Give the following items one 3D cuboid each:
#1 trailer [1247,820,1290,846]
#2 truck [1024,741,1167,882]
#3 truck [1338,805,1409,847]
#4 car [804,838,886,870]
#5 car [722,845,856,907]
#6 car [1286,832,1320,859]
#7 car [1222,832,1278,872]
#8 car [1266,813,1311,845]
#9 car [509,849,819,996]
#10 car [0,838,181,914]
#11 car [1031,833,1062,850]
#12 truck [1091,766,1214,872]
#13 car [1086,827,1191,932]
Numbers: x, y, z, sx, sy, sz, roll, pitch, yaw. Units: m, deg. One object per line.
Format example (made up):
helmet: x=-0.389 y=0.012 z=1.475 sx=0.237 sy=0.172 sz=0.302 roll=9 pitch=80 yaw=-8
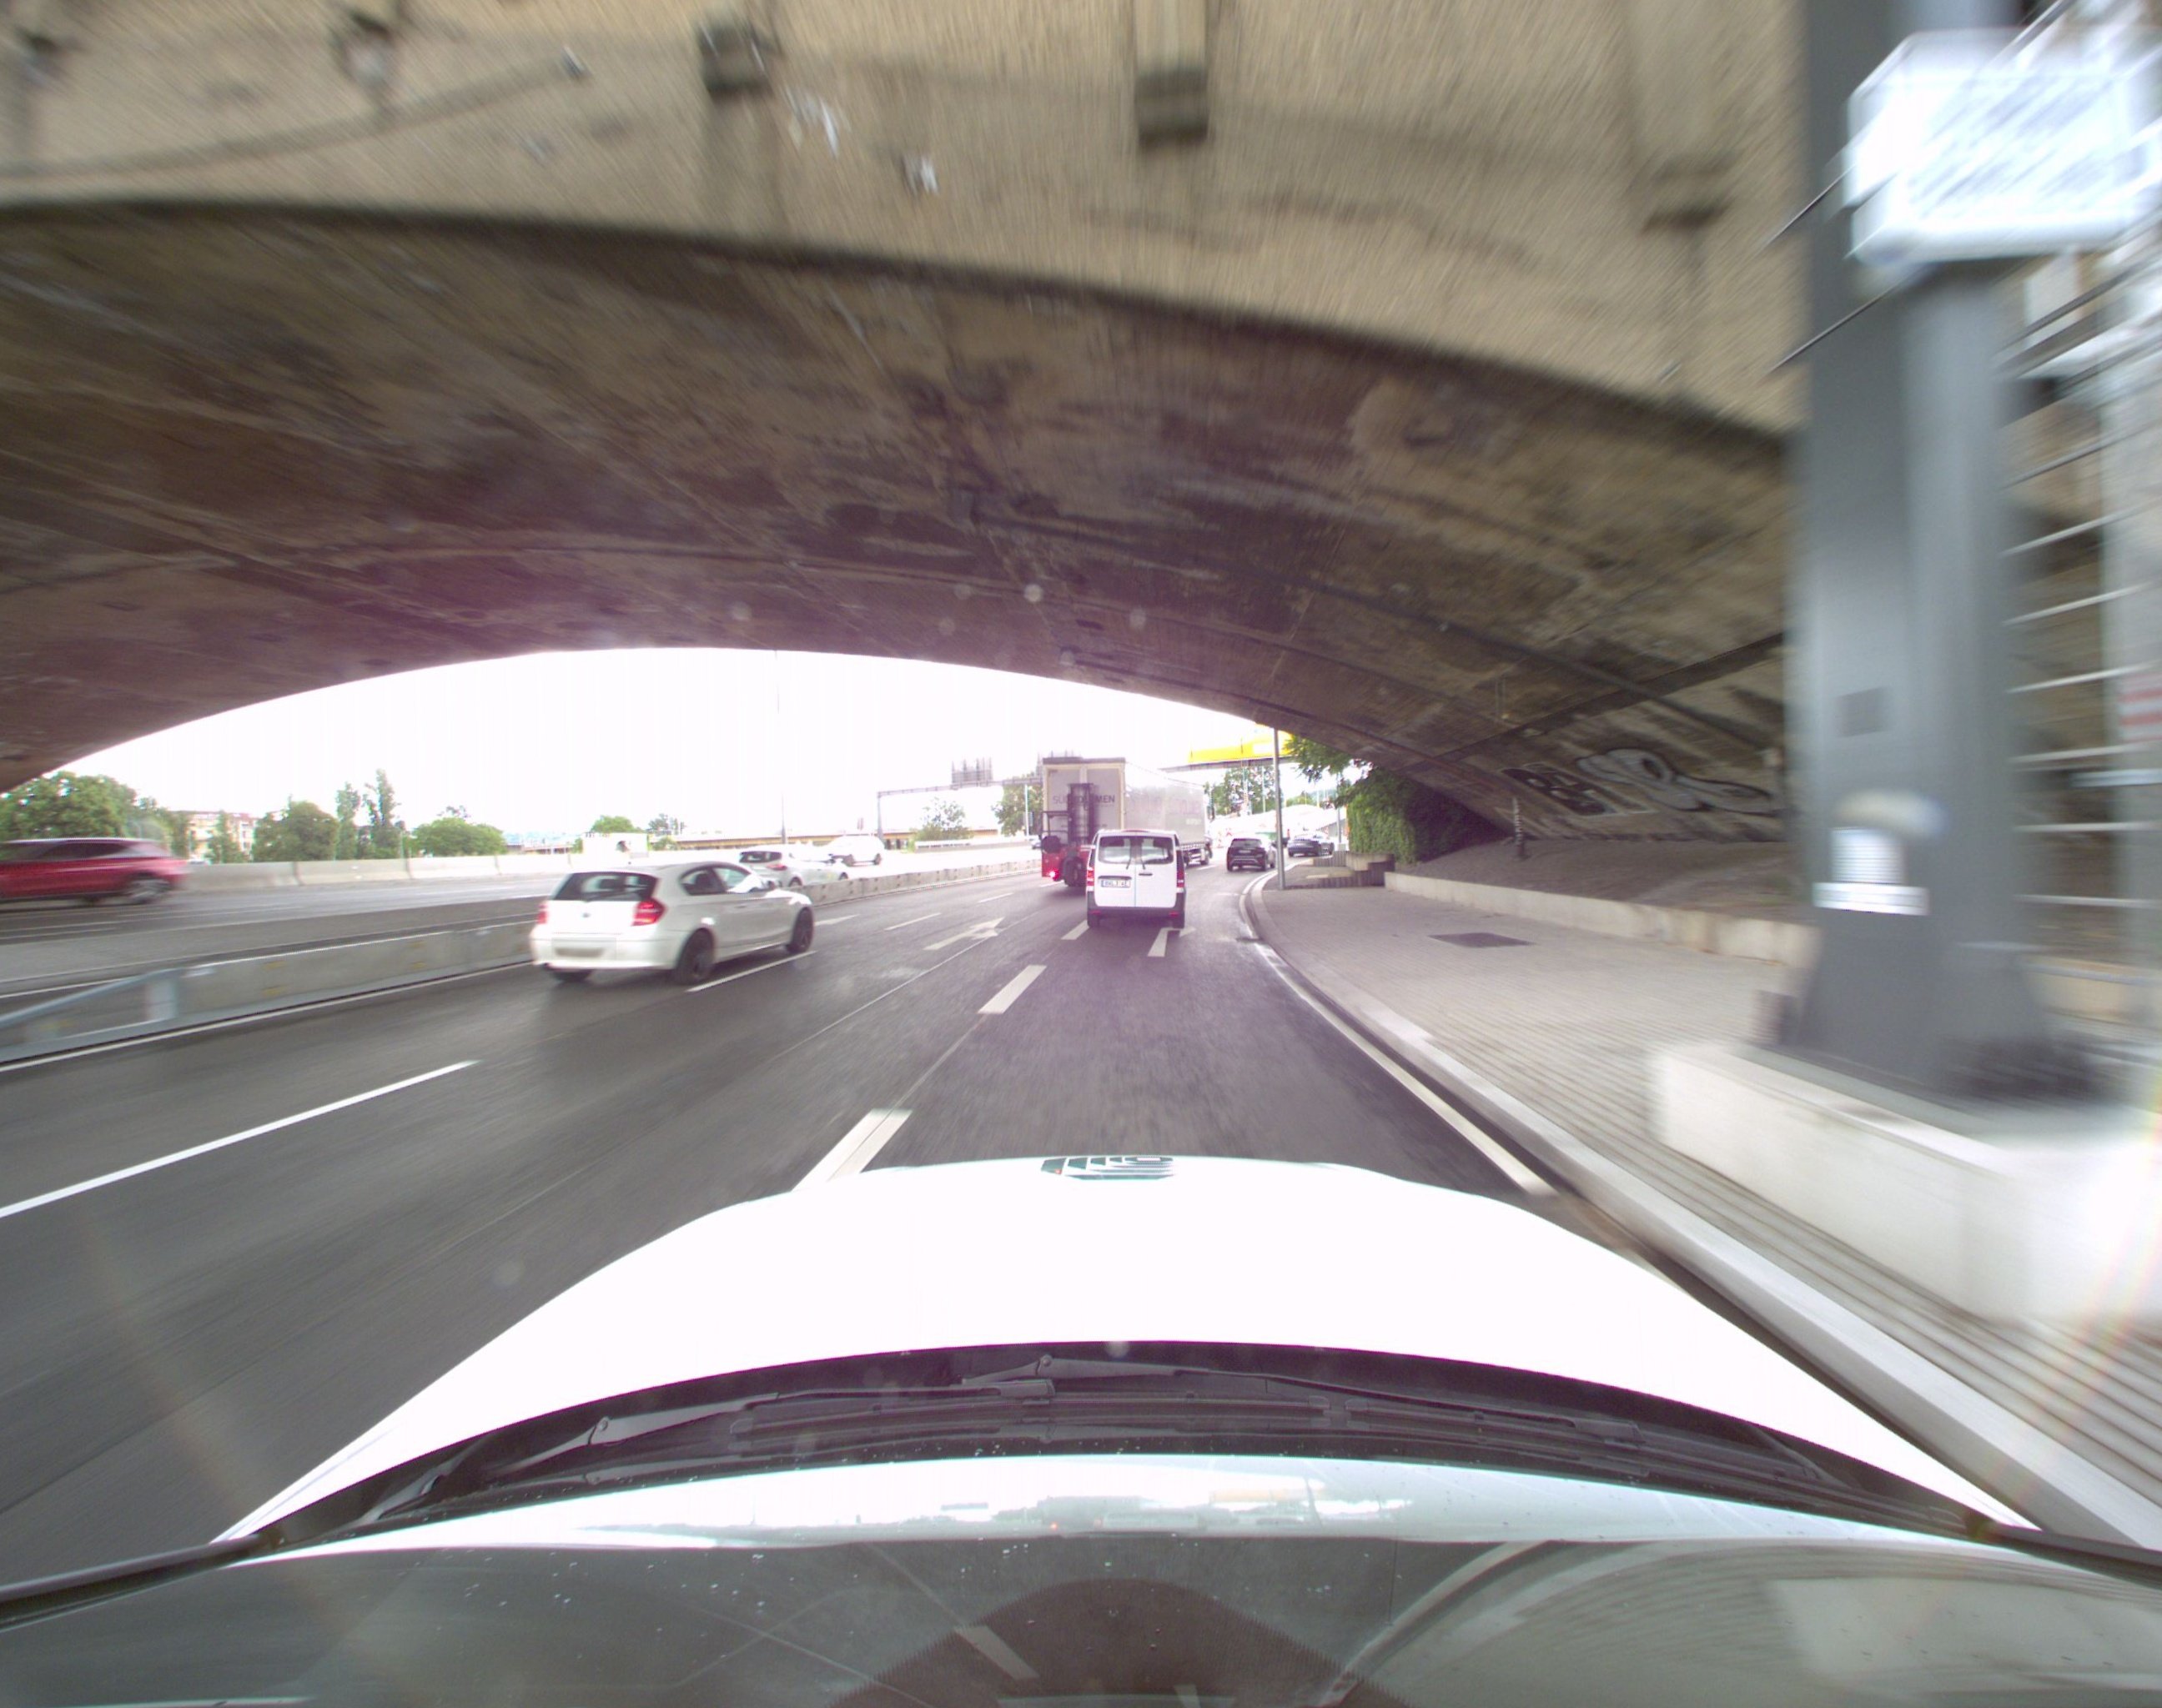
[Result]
trailer: x=14.937 y=-1.687 z=64.890 sx=1.974 sy=1.957 sz=4.105 roll=0 pitch=2 yaw=34
truck: x=0.923 y=-1.282 z=28.553 sx=2.897 sy=4.016 sz=10.238 roll=0 pitch=1 yaw=13
truck: x=29.466 y=-2.750 z=81.344 sx=3.285 sy=3.809 sz=16.700 roll=0 pitch=1 yaw=32
car: x=-11.866 y=-0.057 z=41.303 sx=1.842 sy=1.486 sz=4.561 roll=-1 pitch=1 yaw=15
car: x=-7.564 y=0.526 z=21.518 sx=1.566 sy=1.484 sz=4.007 roll=-1 pitch=0 yaw=9
car: x=13.198 y=-0.473 z=48.350 sx=1.488 sy=1.469 sz=3.417 roll=-2 pitch=-2 yaw=23
car: x=7.668 y=-0.125 z=36.695 sx=1.734 sy=1.625 sz=3.865 roll=-3 pitch=1 yaw=21
car: x=17.540 y=-2.099 z=68.727 sx=1.974 sy=2.541 sz=5.208 roll=0 pitch=2 yaw=34
car: x=-4.992 y=0.695 z=10.462 sx=1.630 sy=1.432 sz=3.989 roll=0 pitch=2 yaw=5
car: x=-23.957 y=0.471 z=18.732 sx=1.687 sy=1.616 sz=4.009 roll=-1 pitch=2 yaw=10
car: x=-3.388 y=-1.268 z=80.765 sx=1.722 sy=1.581 sz=4.168 roll=-1 pitch=1 yaw=18
truck: x=3.692 y=-1.475 z=37.907 sx=2.963 sy=4.176 sz=11.296 roll=0 pitch=1 yaw=19
car: x=1.162 y=0.388 z=17.024 sx=1.868 sy=1.890 sz=4.758 roll=0 pitch=2 yaw=3
